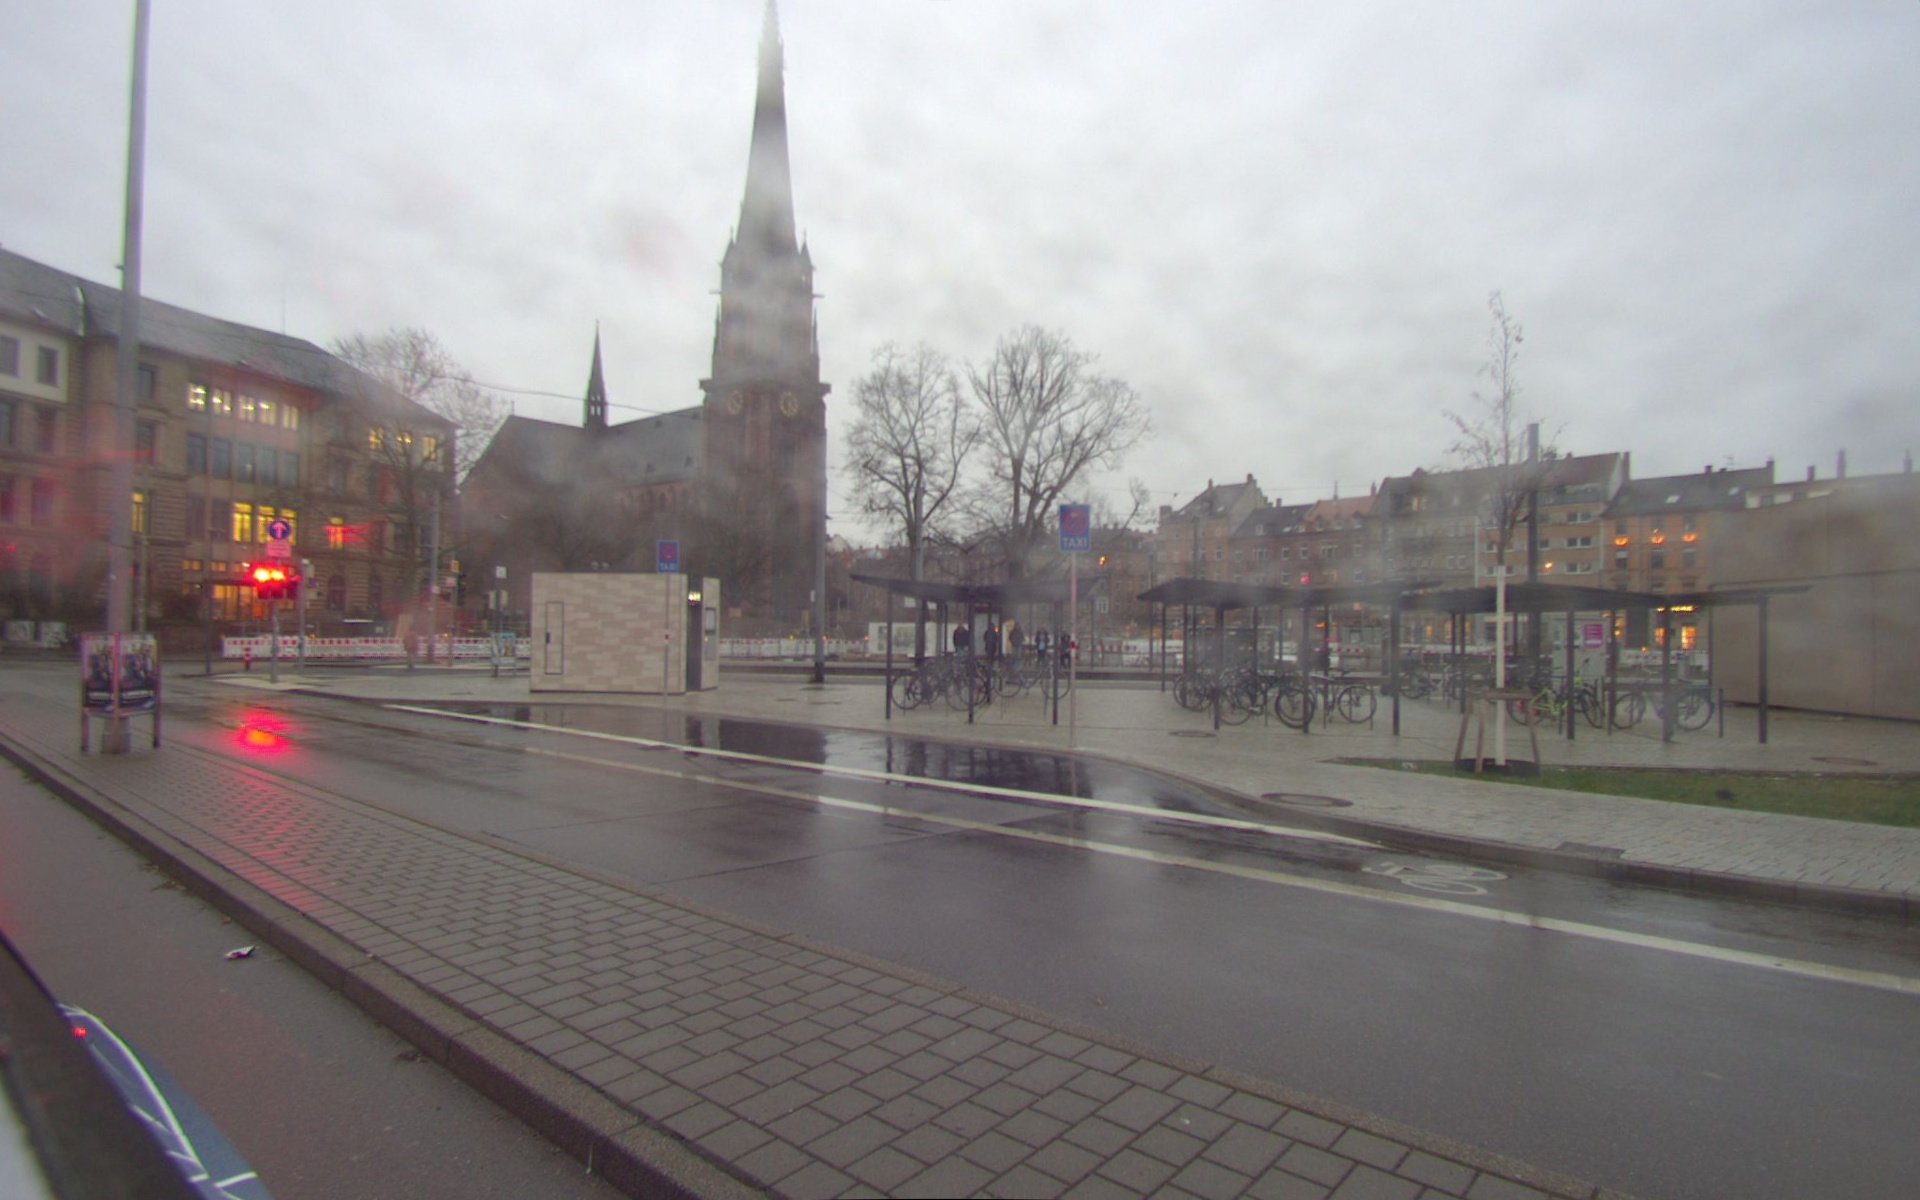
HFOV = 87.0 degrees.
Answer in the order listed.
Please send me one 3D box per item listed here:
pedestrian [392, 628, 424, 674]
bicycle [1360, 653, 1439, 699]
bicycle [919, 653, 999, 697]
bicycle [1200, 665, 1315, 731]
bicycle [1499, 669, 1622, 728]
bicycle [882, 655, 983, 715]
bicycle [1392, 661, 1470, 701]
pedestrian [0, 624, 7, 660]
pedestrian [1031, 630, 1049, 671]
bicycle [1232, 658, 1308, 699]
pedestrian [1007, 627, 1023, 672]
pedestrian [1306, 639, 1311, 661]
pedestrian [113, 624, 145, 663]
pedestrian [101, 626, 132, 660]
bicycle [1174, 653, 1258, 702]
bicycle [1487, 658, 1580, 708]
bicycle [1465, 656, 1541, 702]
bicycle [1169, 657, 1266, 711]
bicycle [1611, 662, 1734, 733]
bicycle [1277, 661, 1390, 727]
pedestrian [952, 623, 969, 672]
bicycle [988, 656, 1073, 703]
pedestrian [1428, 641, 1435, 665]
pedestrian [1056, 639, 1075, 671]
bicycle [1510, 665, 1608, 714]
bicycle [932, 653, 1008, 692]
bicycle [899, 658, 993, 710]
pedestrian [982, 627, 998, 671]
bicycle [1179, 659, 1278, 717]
[{"bbox_3d":[-21.073,1.927,38.639,0.760,1.673,1.211,-1,0,-14],"label":"pedestrian"},{"bbox_3d":[11.184,1.928,25.802,1.780,1.116,0.473,1,-1,11],"label":"bicycle"},{"bbox_3d":[-0.015,1.831,24.869,1.905,0.993,0.473,1,-1,11],"label":"bicycle"},{"bbox_3d":[5.256,1.723,17.956,1.905,1.078,0.473,1,-1,11],"label":"bicycle"},{"bbox_3d":[11.126,1.818,18.784,1.905,0.983,0.473,1,-1,11],"label":"bicycle"},{"bbox_3d":[-0.538,1.656,19.867,1.905,1.078,0.473,1,-1,11],"label":"bicycle"},{"bbox_3d":[11.621,1.995,24.992,1.672,0.898,0.474,1,-1,5],"label":"bicycle"},{"bbox_3d":[-49.351,2.109,51.590,0.889,1.830,0.671,1,-2,12],"label":"pedestrian"},{"bbox_3d":[3.033,1.914,38.332,0.580,1.513,0.675,-1,0,-1],"label":"pedestrian"},{"bbox_3d":[7.662,1.945,25.070,1.729,0.946,0.474,1,-1,7],"label":"bicycle"},{"bbox_3d":[2.068,1.859,38.114,0.543,1.648,0.571,-1,0,-1],"label":"pedestrian"},{"bbox_3d":[33.476,4.798,97.235,0.386,2.029,0.370,-2,-4,41],"label":"pedestrian"},{"bbox_3d":[-41.841,2.193,50.950,0.961,1.915,0.673,1,-2,3],"label":"pedestrian"},{"bbox_3d":[-44.397,2.273,53.285,0.919,1.737,0.824,0,-3,14],"label":"pedestrian"},{"bbox_3d":[6.064,1.832,24.040,1.905,1.078,0.473,1,-1,11],"label":"bicycle"},{"bbox_3d":[13.253,1.913,23.417,1.810,1.081,0.474,1,-1,8],"label":"bicycle"},{"bbox_3d":[13.233,1.920,24.664,1.551,1.044,0.521,1,-1,1],"label":"bicycle"},{"bbox_3d":[5.431,1.776,21.401,1.899,1.078,0.474,1,-1,2],"label":"bicycle"},{"bbox_3d":[12.689,1.728,18.046,1.731,1.165,0.617,1,-1,1],"label":"bicycle"},{"bbox_3d":[6.945,1.738,18.866,1.905,1.129,0.473,1,-1,11],"label":"bicycle"},{"bbox_3d":[0.004,1.805,38.578,0.619,1.808,0.672,-1,0,-1],"label":"pedestrian"},{"bbox_3d":[1.639,1.824,23.423,1.905,0.993,0.473,1,-1,11],"label":"bicycle"},{"bbox_3d":[40.971,4.620,87.946,0.436,2.029,0.414,3,-4,-41],"label":"pedestrian"},{"bbox_3d":[3.980,2.075,38.324,0.610,1.165,0.806,-1,0,-1],"label":"pedestrian"},{"bbox_3d":[12.900,1.923,21.831,1.751,0.963,0.473,1,-1,11],"label":"bicycle"},{"bbox_3d":[0.271,1.871,26.126,1.905,0.917,0.473,1,-1,11],"label":"bicycle"},{"bbox_3d":[-0.288,1.736,21.104,1.905,0.993,0.473,1,-1,11],"label":"bicycle"},{"bbox_3d":[1.148,1.862,38.651,0.556,1.664,0.540,-1,0,-1],"label":"pedestrian"},{"bbox_3d":[5.432,1.777,20.547,1.905,1.078,0.473,1,-1,11],"label":"bicycle"}]
